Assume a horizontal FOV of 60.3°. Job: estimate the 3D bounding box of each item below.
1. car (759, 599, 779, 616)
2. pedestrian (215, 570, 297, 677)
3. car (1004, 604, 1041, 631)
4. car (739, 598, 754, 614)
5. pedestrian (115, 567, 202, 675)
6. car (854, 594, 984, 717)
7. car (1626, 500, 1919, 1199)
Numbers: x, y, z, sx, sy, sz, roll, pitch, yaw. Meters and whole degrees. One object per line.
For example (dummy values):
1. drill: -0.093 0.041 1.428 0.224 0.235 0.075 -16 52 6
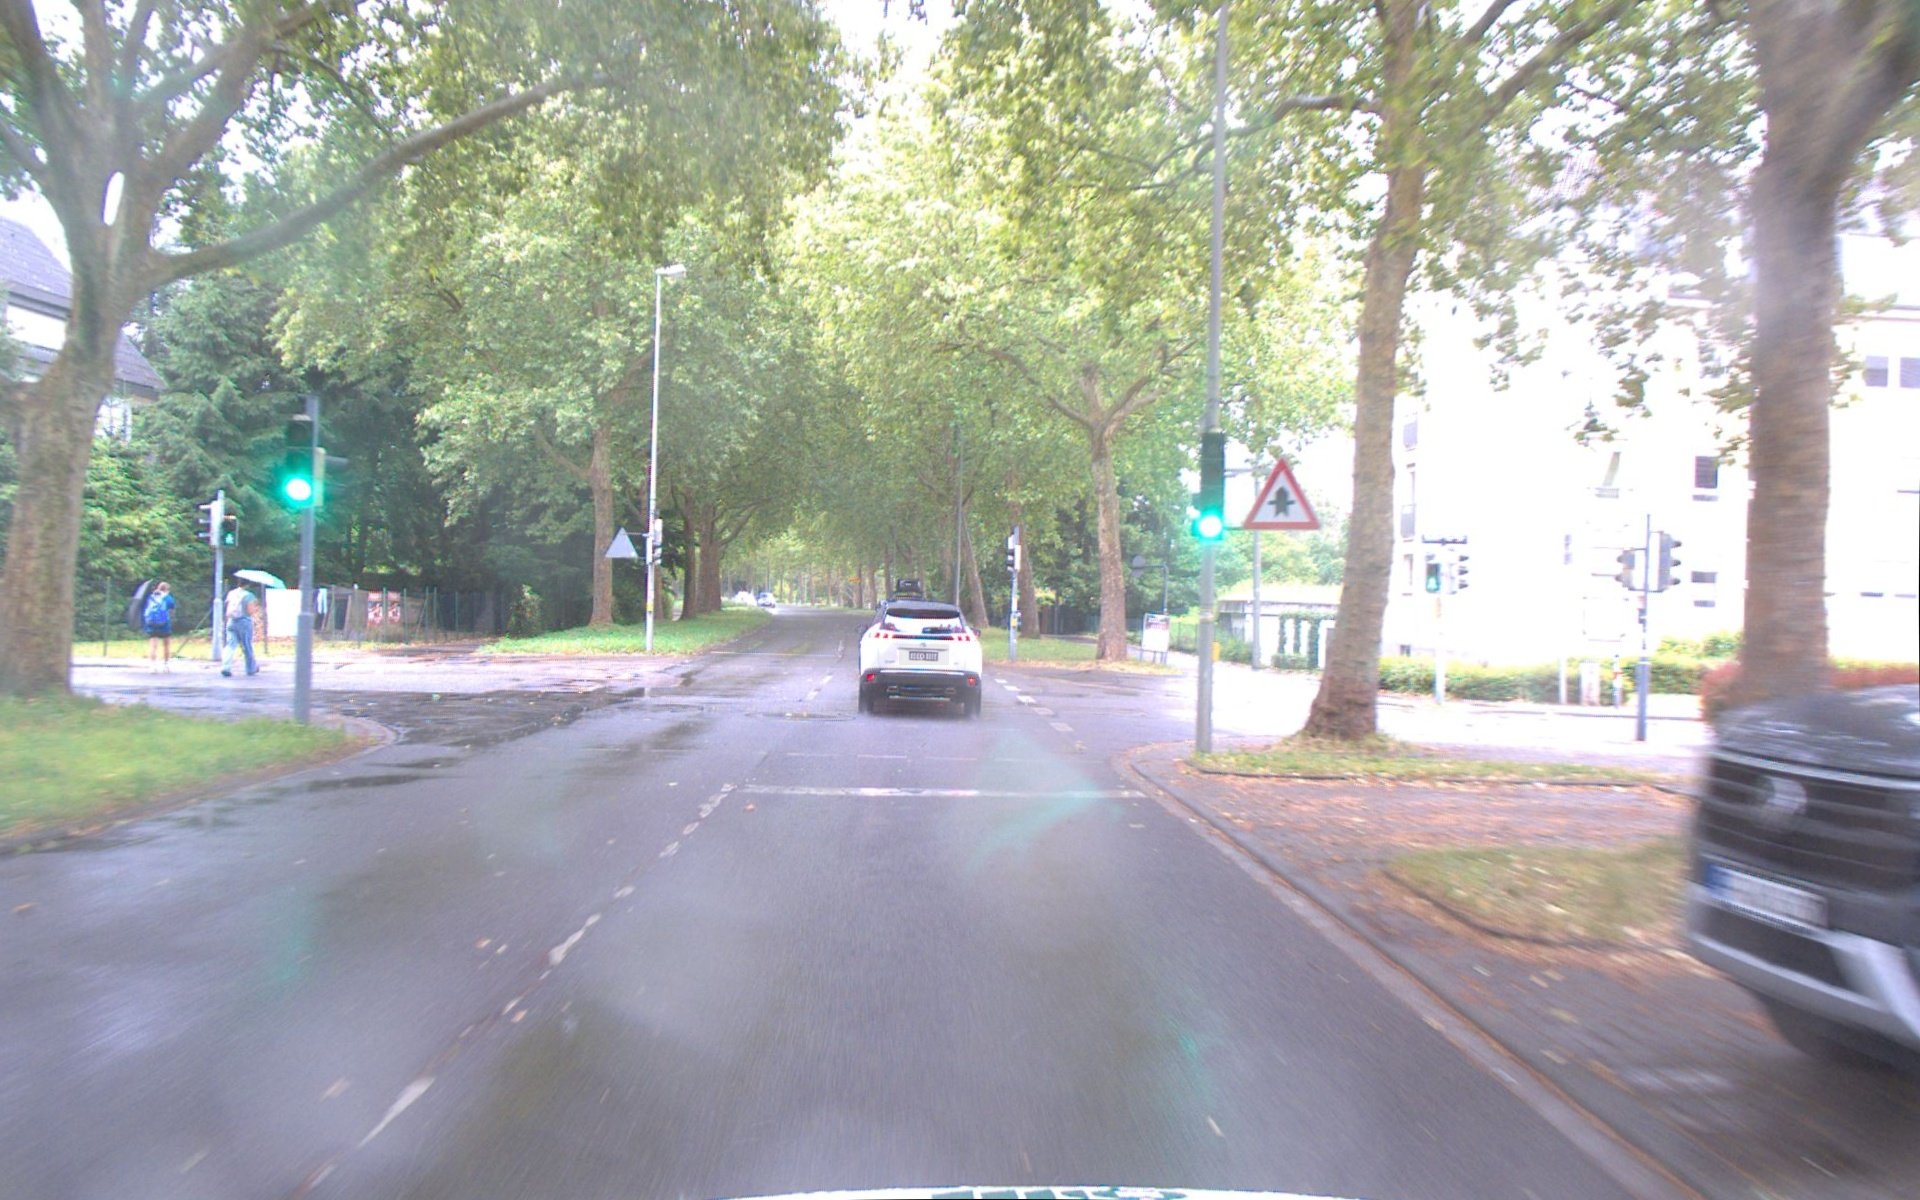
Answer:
1. car: -20.471 0.791 177.161 1.836 1.706 3.705 2 0 -3
2. pedestrian: -12.080 0.406 28.418 1.011 1.796 0.838 1 0 0
3. car: 3.763 1.062 100.495 1.867 1.536 3.929 2 0 -3
4. car: -27.961 0.782 216.295 1.707 2.049 3.661 2 0 -4
5. pedestrian: -13.666 0.357 28.229 1.011 1.796 0.879 1 0 0
6. car: -0.591 0.749 24.509 1.744 1.563 4.057 1 1 -1
7. car: 4.949 0.657 4.965 5.236 1.838 1.843 0 0 -6
